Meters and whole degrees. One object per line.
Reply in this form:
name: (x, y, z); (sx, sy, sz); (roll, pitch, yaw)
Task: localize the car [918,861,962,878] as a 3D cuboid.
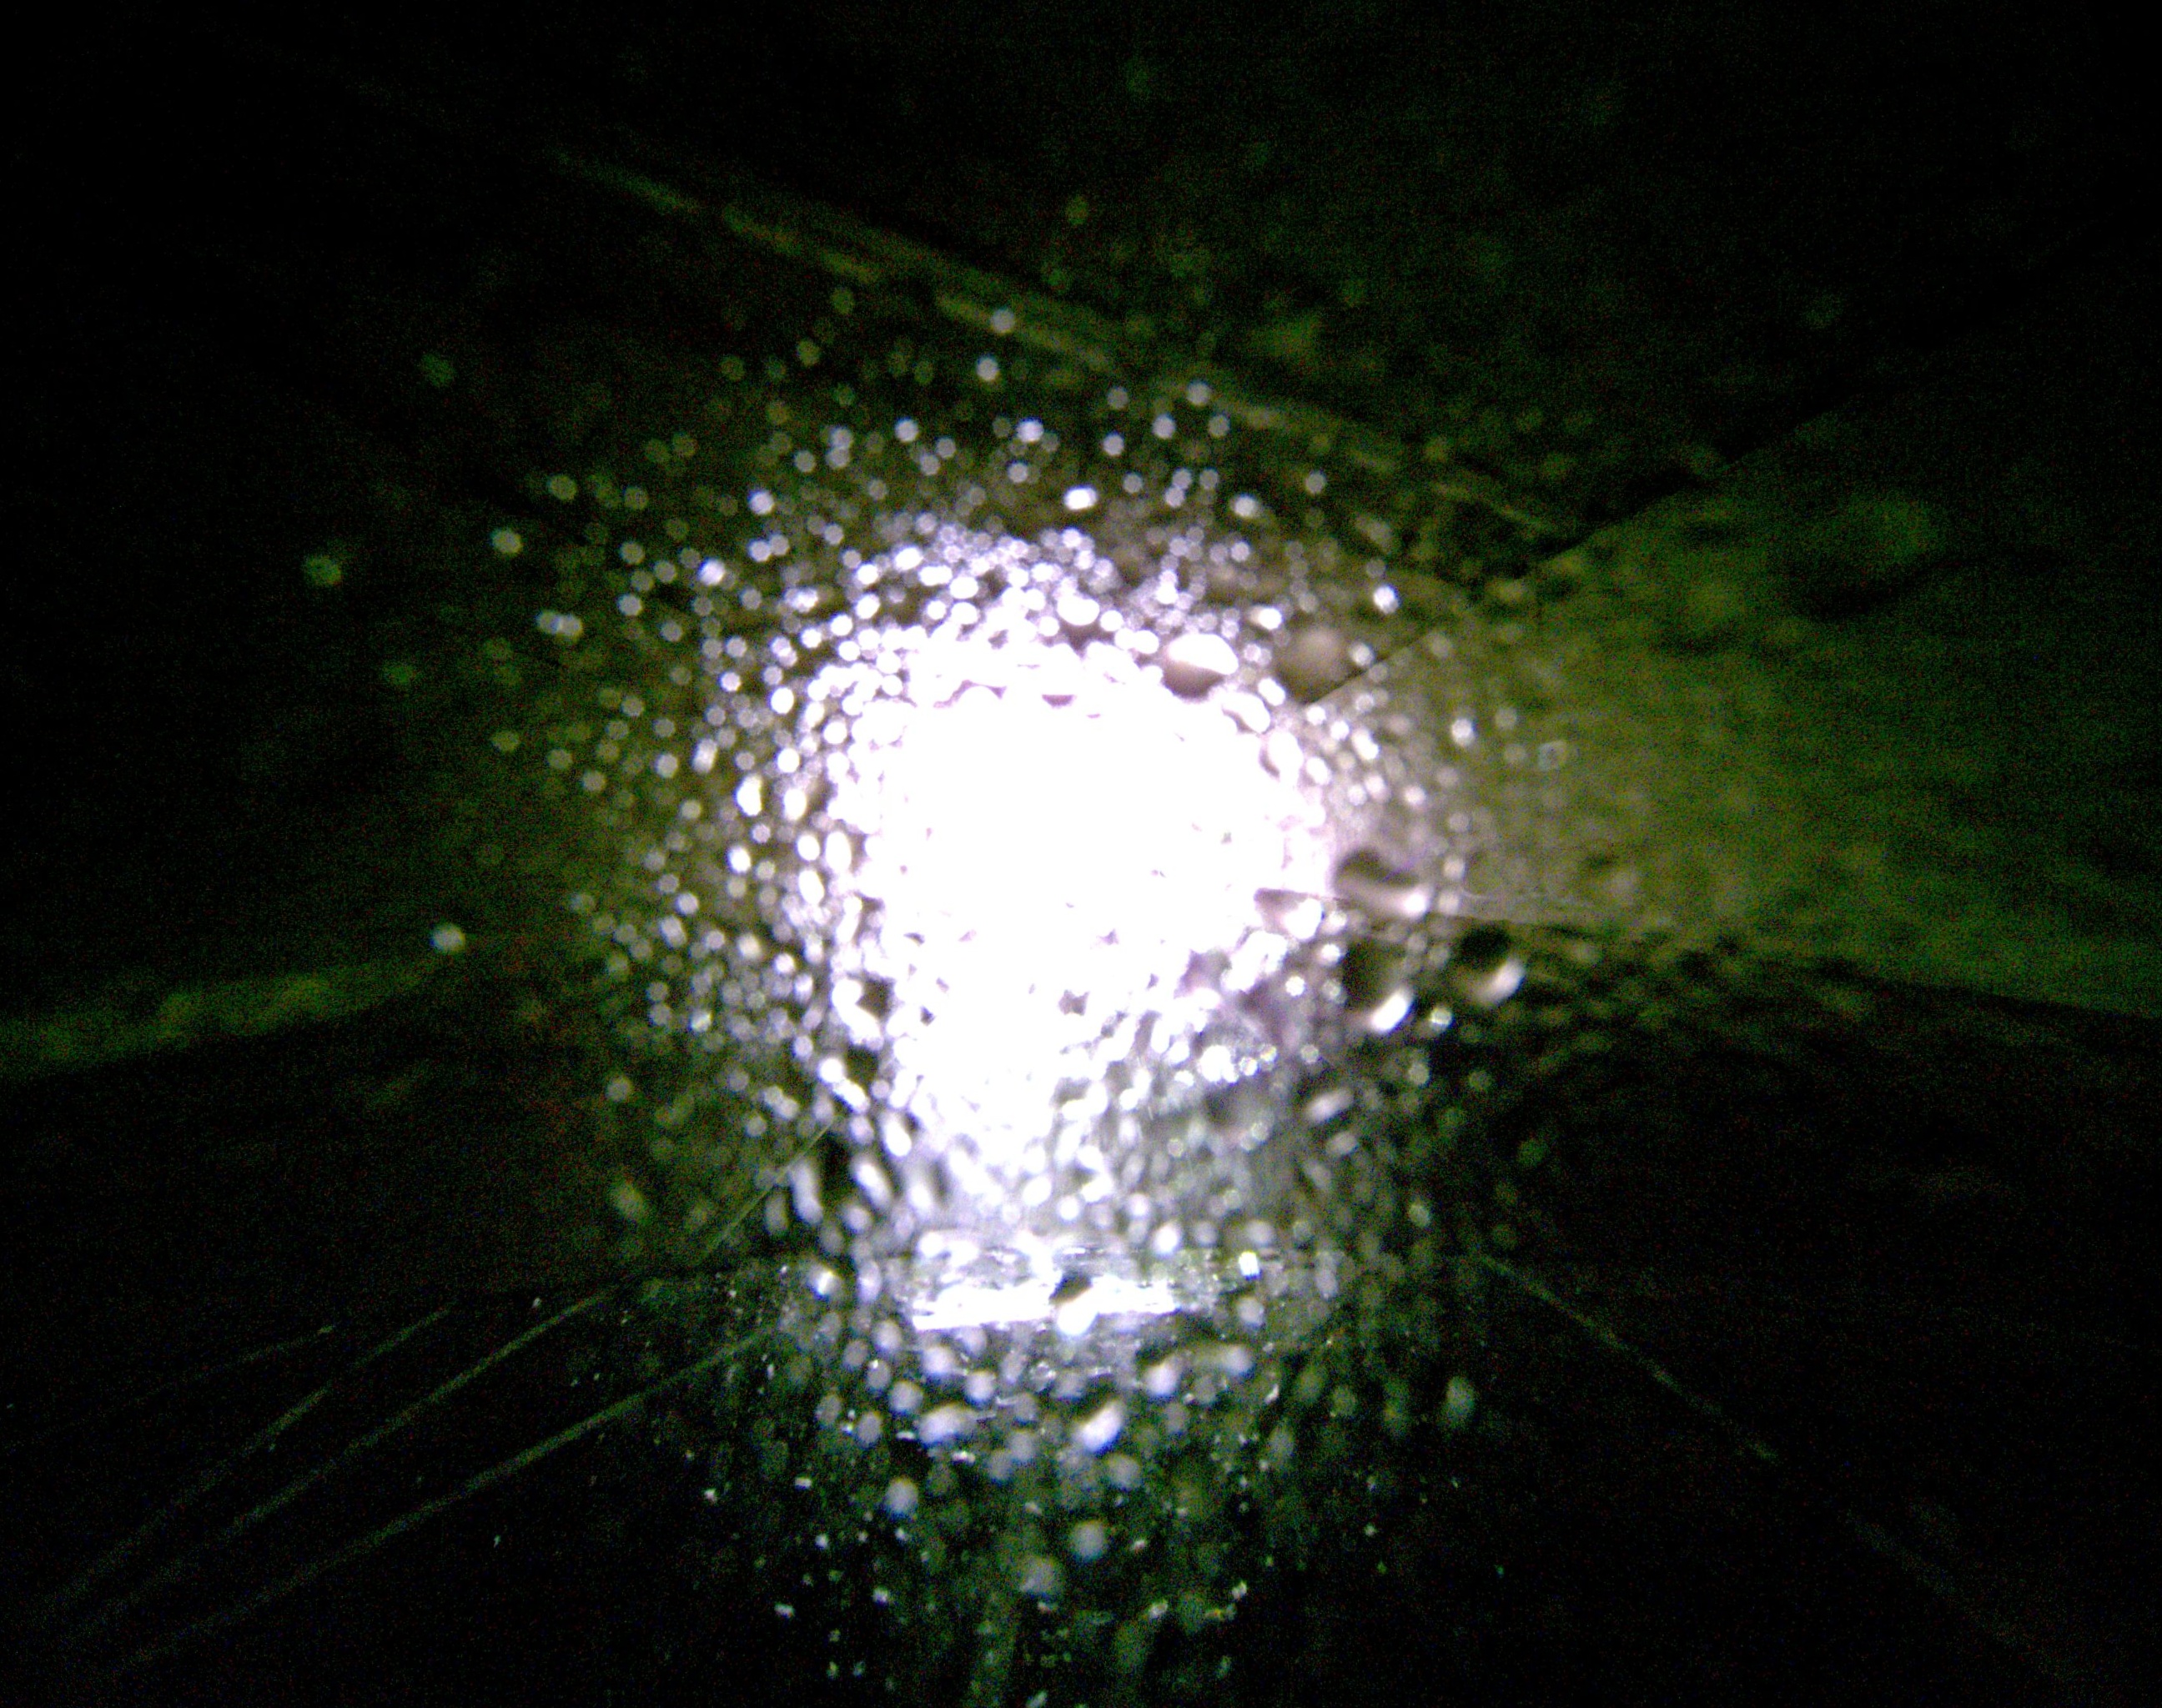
car: (-14.006, 1.510, 75.511); (3.863, 1.523, 1.715); (-3, 1, -34)

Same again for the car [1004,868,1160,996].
car: (-0.061, 0.957, 11.146); (1.767, 1.316, 4.548); (-3, 0, -2)

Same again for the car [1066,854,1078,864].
car: (-1.423, 0.783, 119.257); (1.695, 1.478, 4.071); (-2, 0, -4)
